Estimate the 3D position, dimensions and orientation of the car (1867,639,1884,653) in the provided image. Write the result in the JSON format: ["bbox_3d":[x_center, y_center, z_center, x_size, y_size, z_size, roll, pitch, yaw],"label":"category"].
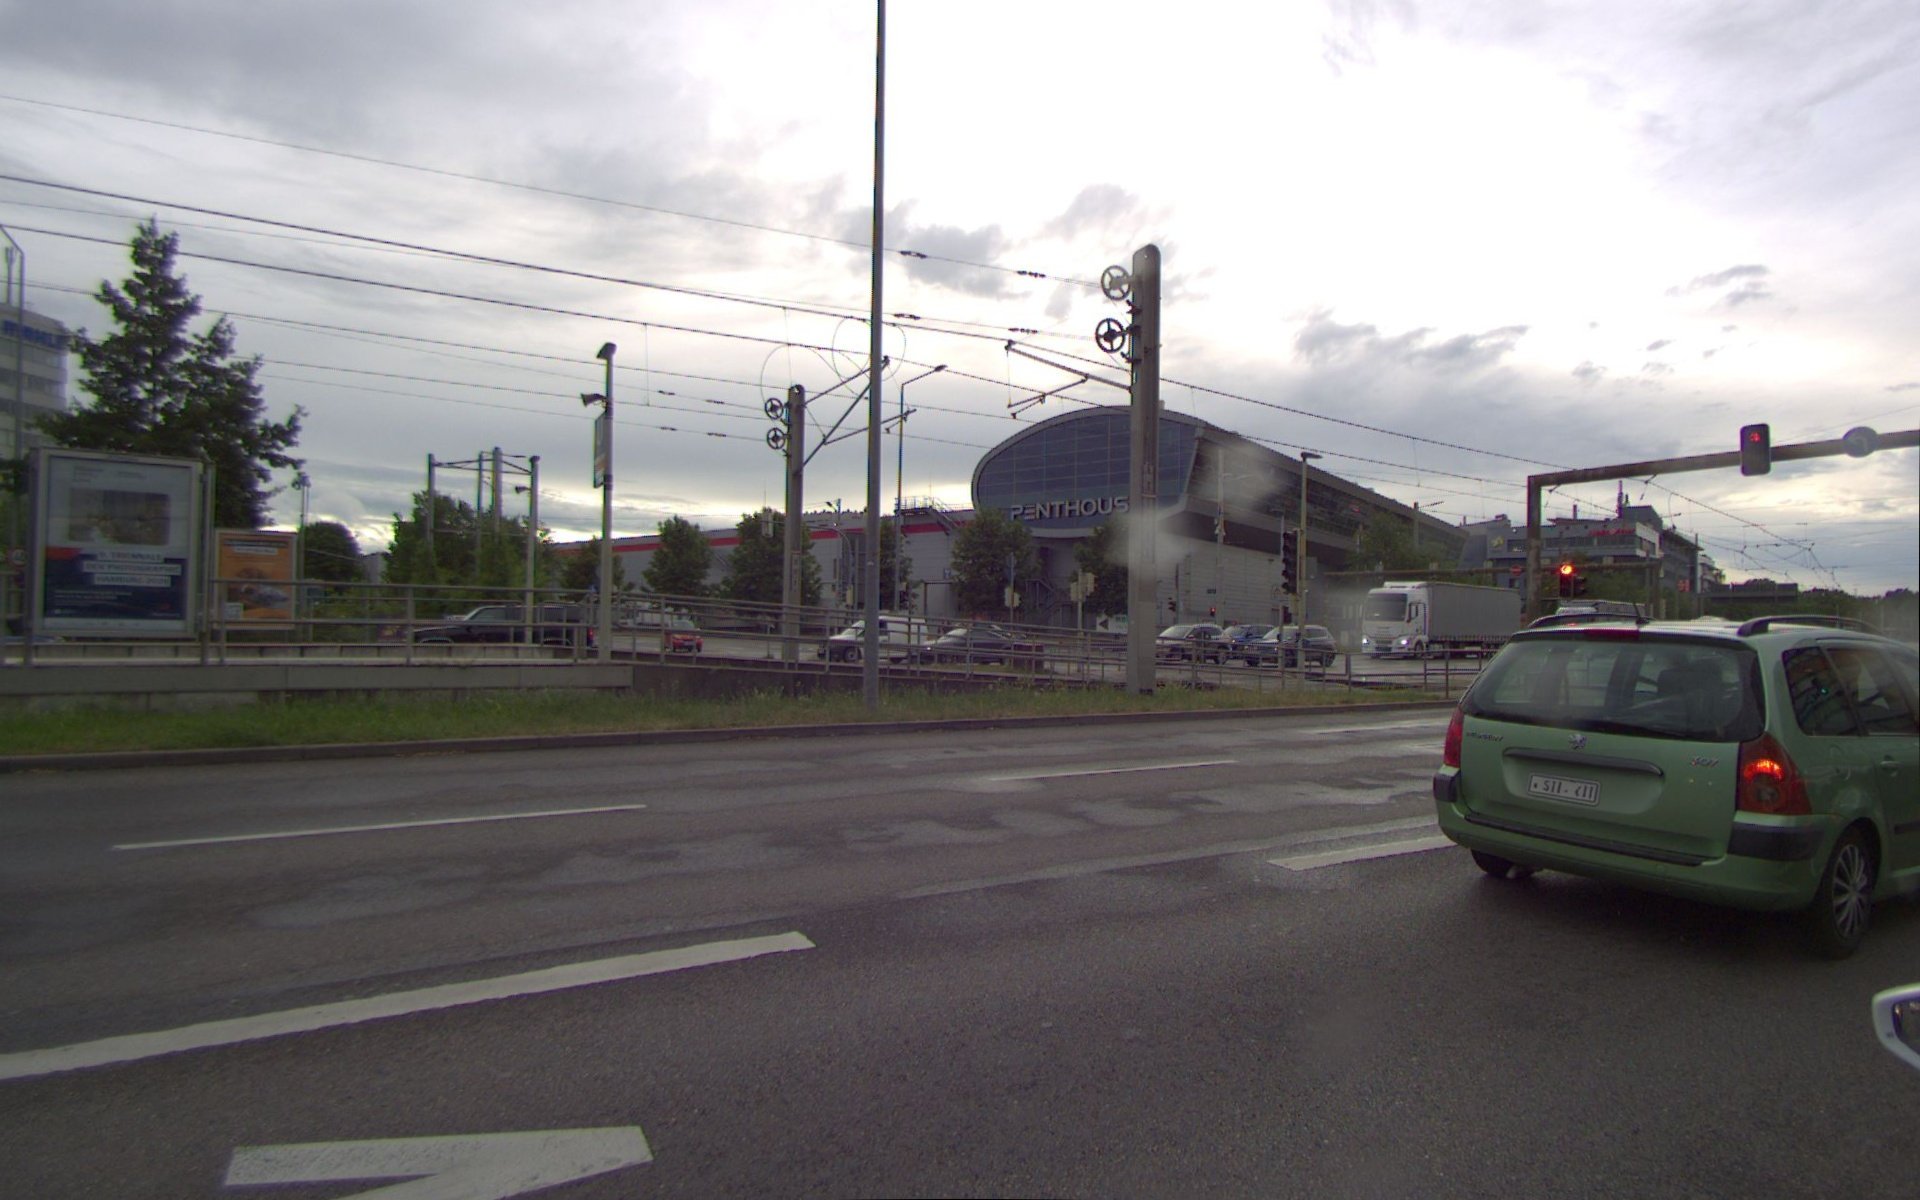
[{"bbox_3d":[146.738,7.389,160.966,1.754,2.040,4.320,3,0,45],"label":"car"}]

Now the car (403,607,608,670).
[{"bbox_3d":[-12.268,1.059,27.256,4.876,1.517,1.668,3,0,-31],"label":"car"}]

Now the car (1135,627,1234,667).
[{"bbox_3d":[9.332,1.958,41.620,4.116,1.481,1.725,3,0,-38],"label":"car"}]

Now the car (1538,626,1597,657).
[{"bbox_3d":[36.716,2.521,60.704,4.065,1.674,1.870,3,0,-42],"label":"car"}]

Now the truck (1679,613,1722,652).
[{"bbox_3d":[76.286,3.422,103.432,2.718,3.855,5.378,-2,-4,45],"label":"truck"}]

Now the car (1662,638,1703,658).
[{"bbox_3d":[60.470,4.005,84.067,4.533,1.576,1.885,3,0,-43],"label":"car"}]

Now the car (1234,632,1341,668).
[{"bbox_3d":[13.318,2.053,40.792,4.371,1.281,1.895,3,0,-35],"label":"car"}]

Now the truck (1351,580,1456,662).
[{"bbox_3d":[23.454,1.139,53.004,5.939,4.049,2.808,2,-2,-41],"label":"truck"}]

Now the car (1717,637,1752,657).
[{"bbox_3d":[76.451,4.617,99.147,4.874,1.862,1.974,1,0,-43],"label":"car"}]

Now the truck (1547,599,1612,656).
[{"bbox_3d":[47.336,2.155,76.675,6.141,4.184,2.642,3,-3,-43],"label":"truck"}]

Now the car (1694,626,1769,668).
[{"bbox_3d":[40.030,2.417,52.076,4.302,2.040,1.762,1,1,-34],"label":"car"}]

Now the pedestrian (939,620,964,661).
[{"bbox_3d":[-0.377,1.759,43.346,0.731,1.728,0.721,3,-1,-33],"label":"pedestrian"}]

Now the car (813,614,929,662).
[{"bbox_3d":[-3.299,1.424,37.672,4.038,1.648,1.563,3,0,-32],"label":"car"}]

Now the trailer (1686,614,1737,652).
[{"bbox_3d":[80.593,3.630,107.633,11.156,3.905,2.698,3,-4,-45],"label":"trailer"}]

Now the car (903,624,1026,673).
[{"bbox_3d":[0.179,1.716,35.423,3.957,1.522,1.777,3,0,-32],"label":"car"}]

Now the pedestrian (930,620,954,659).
[{"bbox_3d":[-0.782,1.738,44.230,0.731,1.685,0.721,3,-1,-33],"label":"pedestrian"}]

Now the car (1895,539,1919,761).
[{"bbox_3d":[12.600,0.649,11.101,4.859,2.324,2.428,3,0,-37],"label":"car"}]

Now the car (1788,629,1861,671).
[{"bbox_3d":[45.306,2.597,52.606,4.302,2.040,1.762,2,1,-34],"label":"car"}]

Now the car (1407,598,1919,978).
[{"bbox_3d":[4.754,0.844,5.883,4.353,1.488,1.686,3,0,-31],"label":"car"}]

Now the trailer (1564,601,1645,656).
[{"bbox_3d":[52.440,2.416,81.520,12.659,4.178,2.624,3,-3,-44],"label":"trailer"}]

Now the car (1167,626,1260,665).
[{"bbox_3d":[12.181,2.191,48.224,4.277,1.650,1.980,3,0,-35],"label":"car"}]

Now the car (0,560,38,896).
[{"bbox_3d":[-6.160,0.557,3.391,4.143,1.613,1.719,2,0,-30],"label":"car"}]

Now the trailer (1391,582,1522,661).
[{"bbox_3d":[28.680,1.306,57.683,11.357,4.161,2.769,2,-2,-42],"label":"trailer"}]
